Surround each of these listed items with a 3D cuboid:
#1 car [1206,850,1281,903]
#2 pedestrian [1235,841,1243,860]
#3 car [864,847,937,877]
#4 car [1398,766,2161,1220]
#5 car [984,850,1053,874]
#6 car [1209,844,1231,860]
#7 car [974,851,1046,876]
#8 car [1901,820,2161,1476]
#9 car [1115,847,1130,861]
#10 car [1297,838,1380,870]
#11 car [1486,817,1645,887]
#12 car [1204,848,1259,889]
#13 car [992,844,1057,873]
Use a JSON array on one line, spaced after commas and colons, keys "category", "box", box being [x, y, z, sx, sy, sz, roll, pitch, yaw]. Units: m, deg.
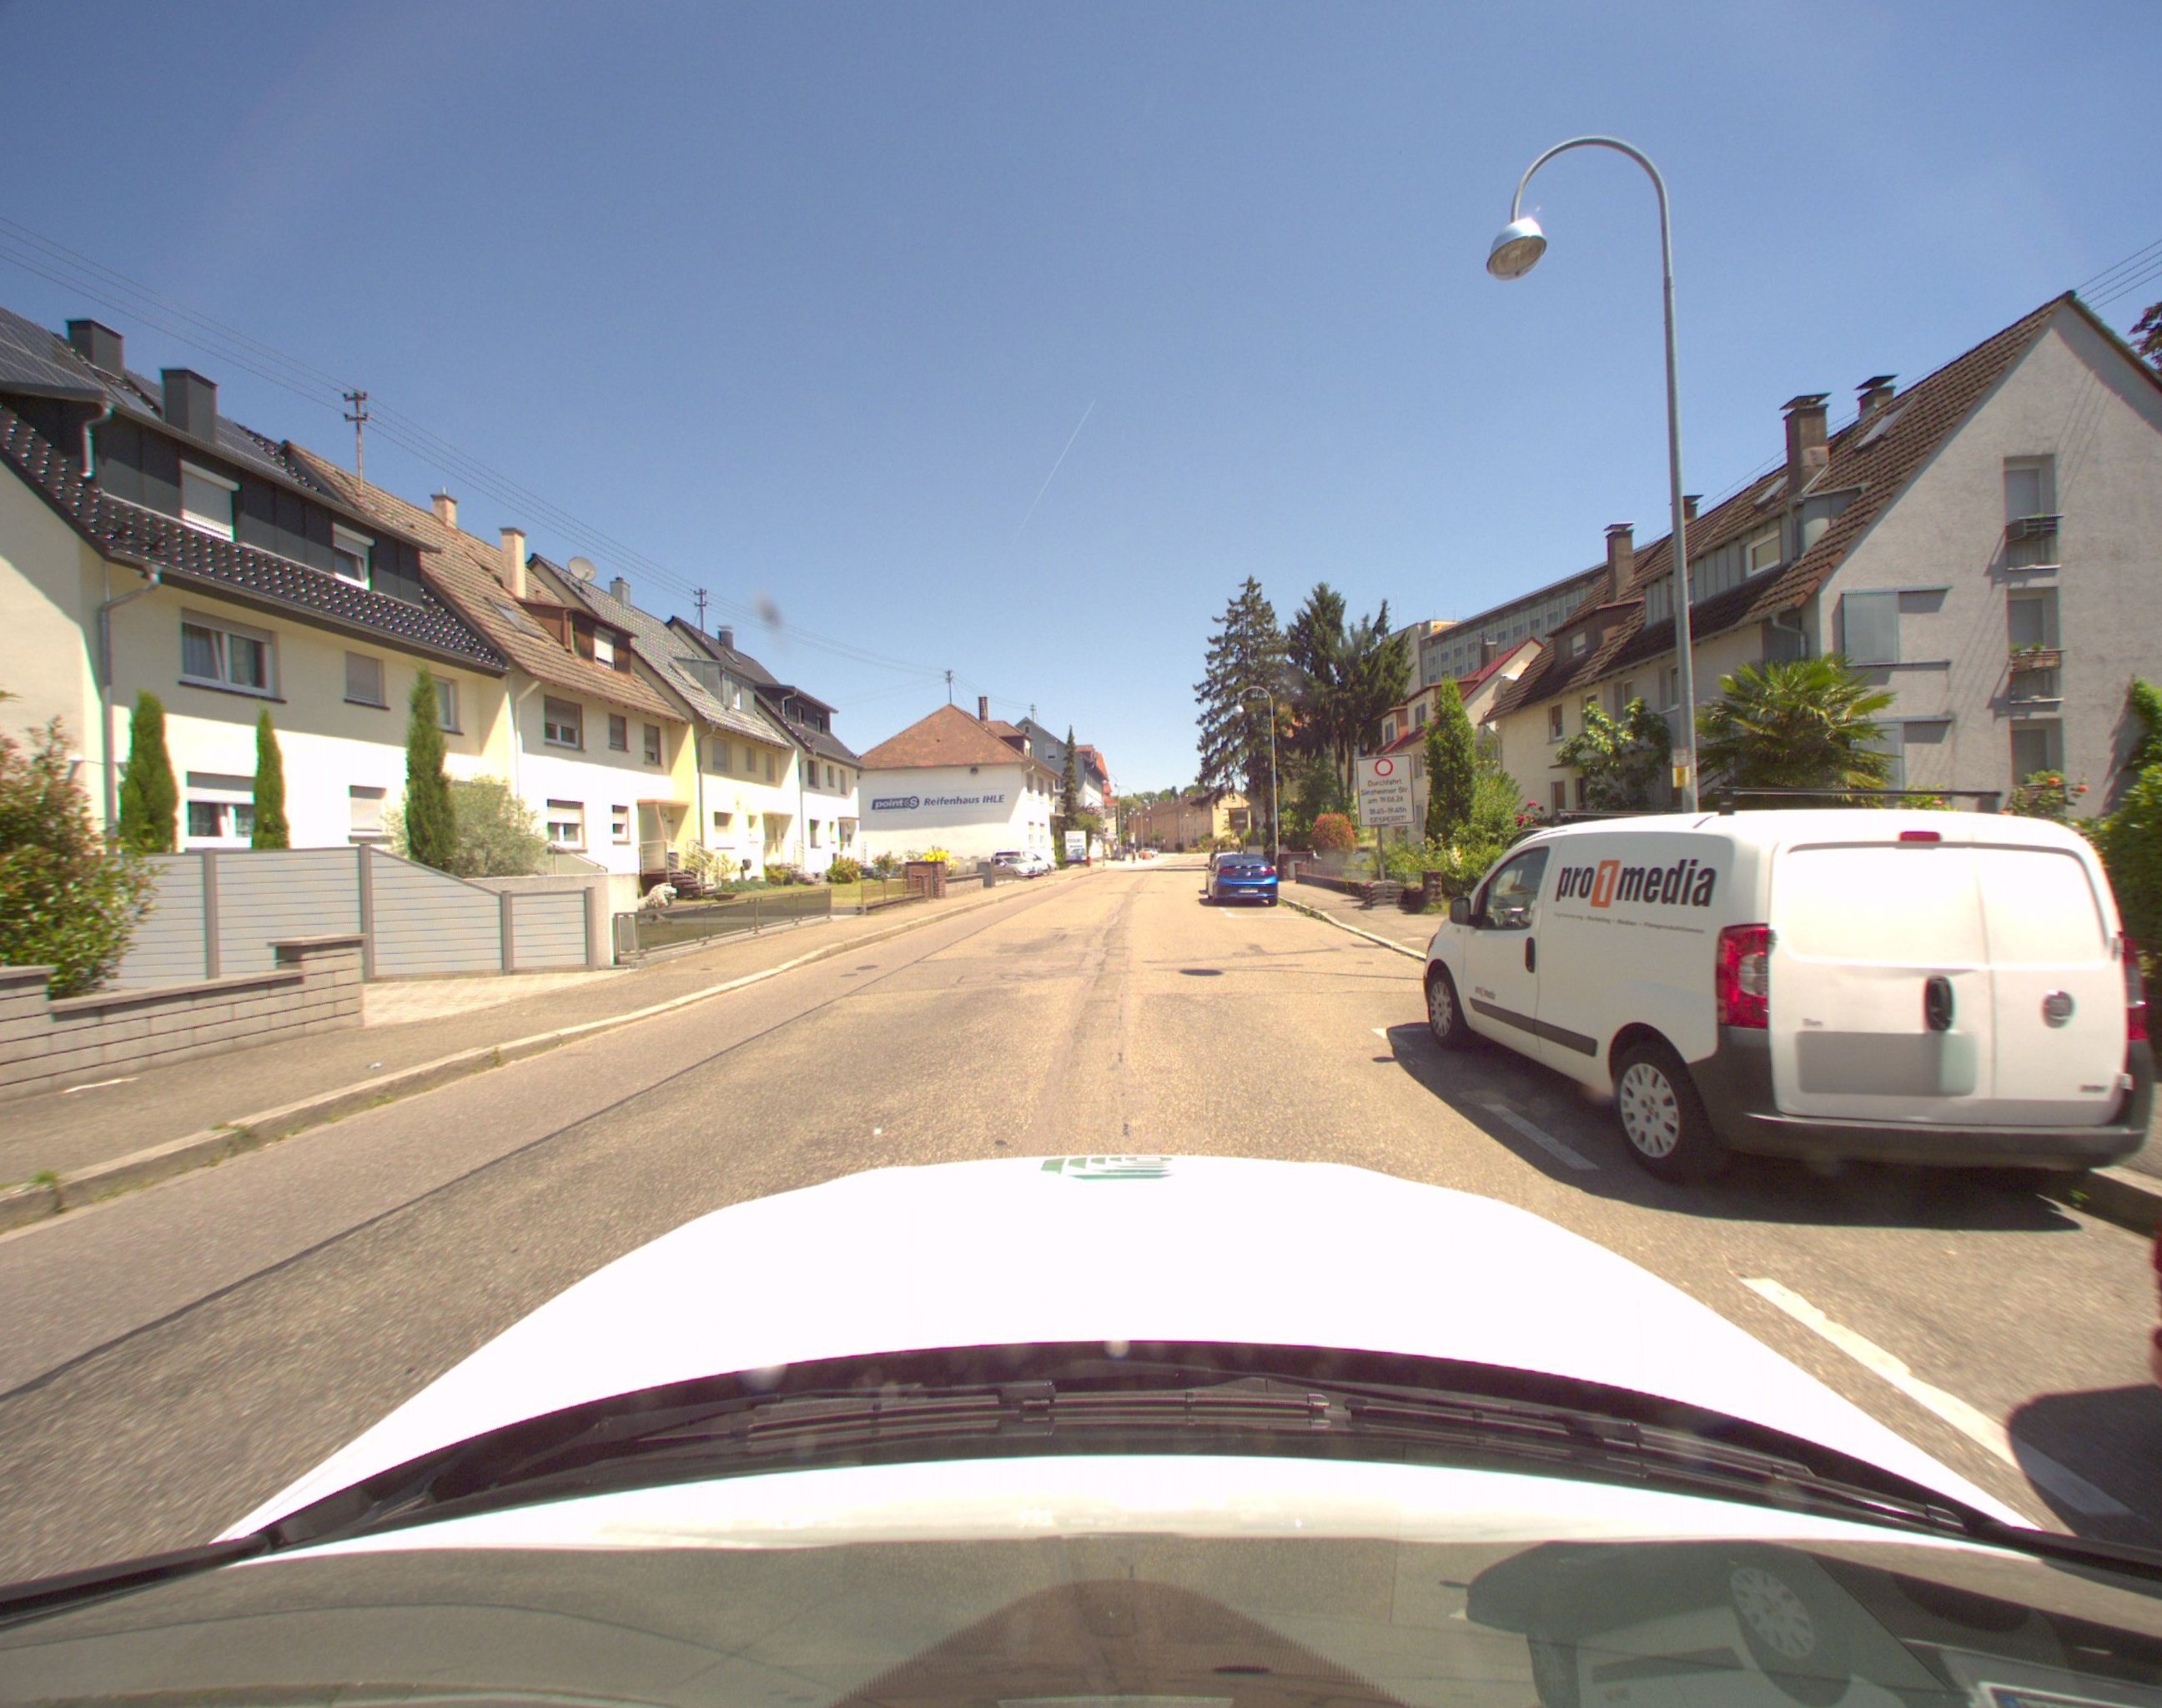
[{"category": "car", "box": [4.726, 0.593, 24.208, 1.769, 1.405, 4.293, 0, 1, 6]}, {"category": "pedestrian", "box": [14.453, -0.305, 74.437, 0.684, 1.770, 0.693, -1, -2, 12]}, {"category": "car", "box": [-9.736, 0.412, 43.720, 3.949, 1.510, 1.811, -1, 1, 41]}, {"category": "car", "box": [3.527, 0.551, 5.204, 1.656, 1.755, 4.003, 0, -1, 3]}, {"category": "car", "box": [-3.958, 0.513, 51.816, 4.109, 1.394, 1.831, -2, 1, 4]}, {"category": "car", "box": [14.643, -0.213, 85.668, 1.781, 1.510, 4.017, -1, 1, 16]}, {"category": "car", "box": [-4.286, 0.583, 48.913, 4.089, 1.343, 1.923, -1, 1, 39]}, {"category": "car", "box": [3.161, 0.657, 0.384, 1.657, 1.454, 4.003, 0, 0, 2]}, {"category": "car", "box": [5.366, -0.018, 104.462, 1.749, 1.656, 4.006, -1, 0, 5]}, {"category": "car", "box": [13.809, 0.001, 43.870, 3.968, 1.610, 1.836, -1, 1, 5]}, {"category": "car", "box": [12.167, -0.072, 20.767, 1.787, 1.569, 4.003, -2, 1, 3]}, {"category": "car", "box": [5.590, 0.499, 30.705, 1.716, 1.419, 4.020, 0, 1, 6]}, {"category": "car", "box": [-3.755, 0.290, 54.428, 4.114, 1.774, 1.829, -2, 0, 1]}]
